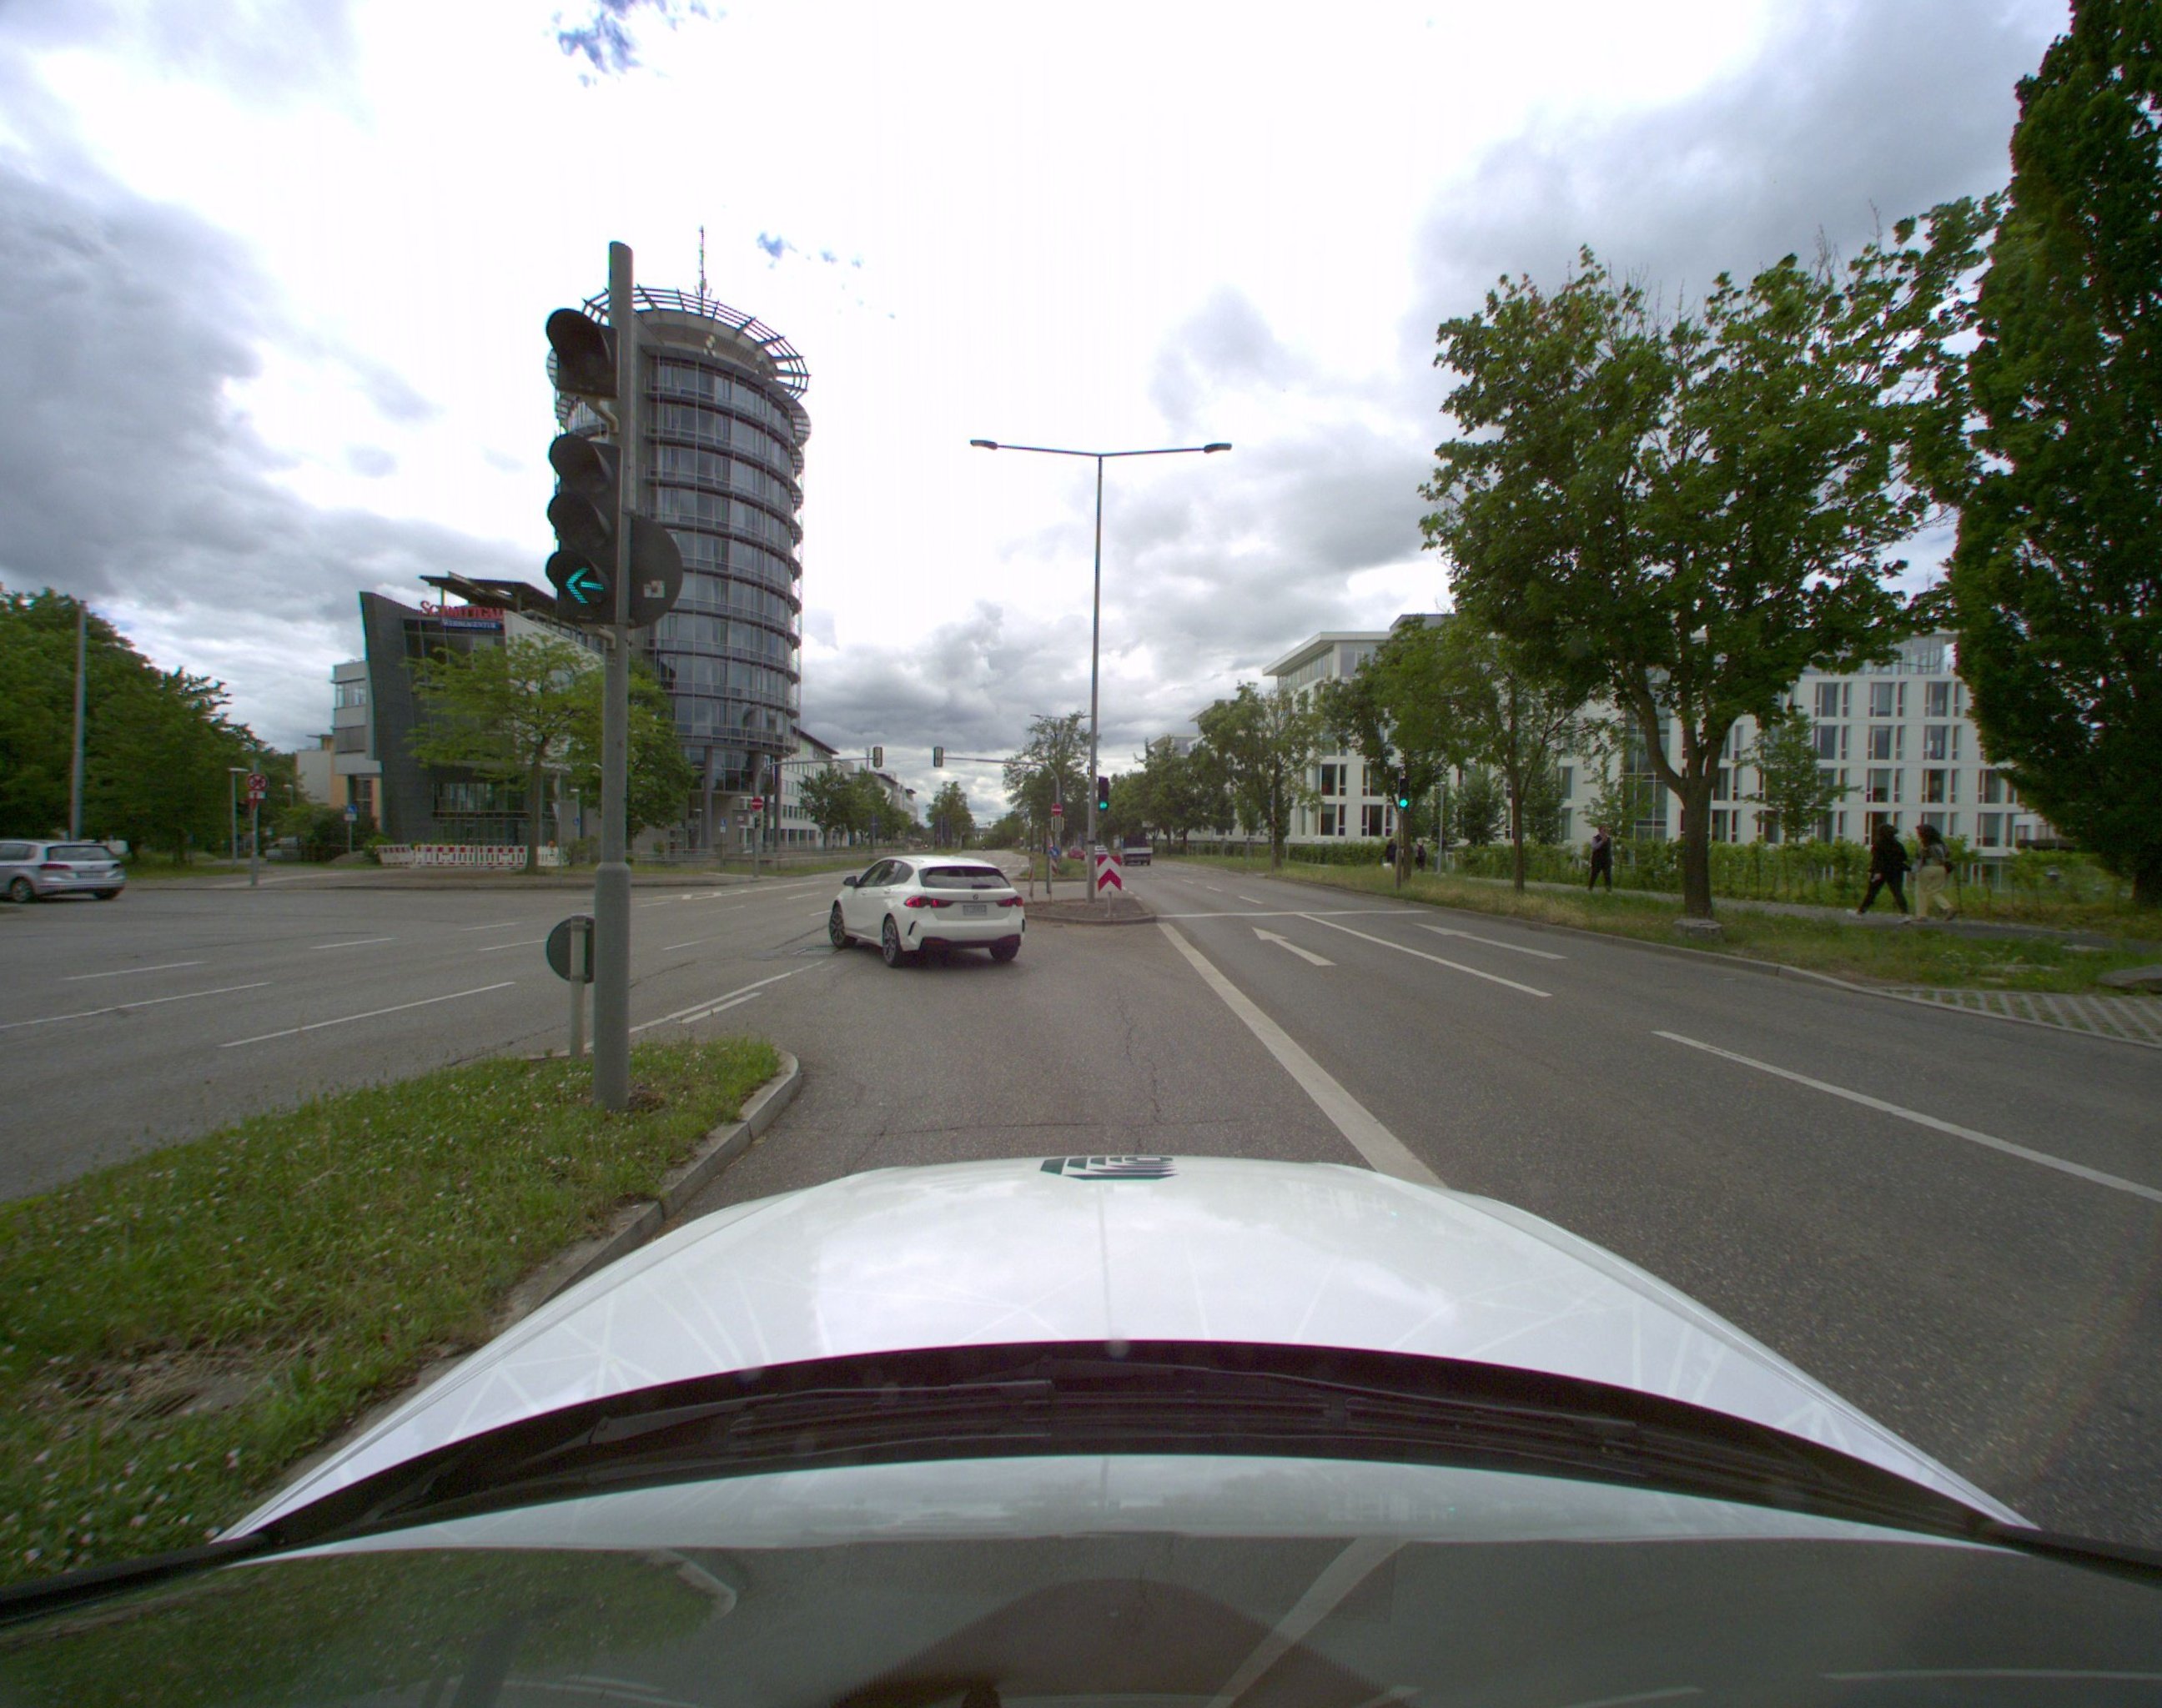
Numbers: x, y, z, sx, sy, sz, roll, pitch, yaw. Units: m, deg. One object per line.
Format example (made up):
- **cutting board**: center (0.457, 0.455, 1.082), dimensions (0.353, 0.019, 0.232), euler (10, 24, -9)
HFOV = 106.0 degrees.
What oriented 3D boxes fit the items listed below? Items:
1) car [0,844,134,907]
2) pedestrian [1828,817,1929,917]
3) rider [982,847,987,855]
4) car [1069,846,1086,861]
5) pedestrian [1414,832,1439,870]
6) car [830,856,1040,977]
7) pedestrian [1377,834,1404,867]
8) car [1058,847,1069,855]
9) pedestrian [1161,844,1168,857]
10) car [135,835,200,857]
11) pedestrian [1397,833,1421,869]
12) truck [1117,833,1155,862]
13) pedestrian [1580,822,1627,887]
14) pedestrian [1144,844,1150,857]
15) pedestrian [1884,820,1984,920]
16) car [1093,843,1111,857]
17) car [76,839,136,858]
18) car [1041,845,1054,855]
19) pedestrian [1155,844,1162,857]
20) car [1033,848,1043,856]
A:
- **car**: center (-27.547, 0.536, 21.234), dimensions (3.971, 1.569, 1.556), euler (0, 0, 2)
- **pedestrian**: center (13.787, 0.211, 14.113), dimensions (0.791, 1.660, 1.062), euler (0, 0, 9)
- **rider**: center (-20.954, -0.715, 176.631), dimensions (0.843, 1.771, 0.808), euler (0, -1, 0)
- **car**: center (-0.405, -0.041, 87.080), dimensions (1.712, 1.558, 3.854), euler (-1, 0, -3)
- **pedestrian**: center (15.448, -0.148, 36.463), dimensions (0.764, 1.685, 0.884), euler (0, -1, 2)
- **car**: center (-2.333, 0.768, 12.098), dimensions (1.834, 1.438, 3.962), euler (0, 0, -30)
- **pedestrian**: center (13.892, -0.144, 36.577), dimensions (0.786, 1.448, 1.112), euler (0, 0, 2)
- **car**: center (-3.449, -0.568, 157.962), dimensions (1.852, 1.596, 4.306), euler (-1, 0, -5)
- **pedestrian**: center (12.522, -0.507, 122.336), dimensions (0.849, 2.013, 0.603), euler (0, 0, -12)
- **car**: center (-36.956, -0.319, 32.970), dimensions (0.766, 0.876, 1.730), euler (0, 0, 40)
- **pedestrian**: center (14.678, -0.146, 36.459), dimensions (0.697, 1.595, 0.884), euler (0, -1, 2)
- **truck**: center (4.360, -0.523, 65.443), dimensions (2.208, 2.203, 5.834), euler (0, 0, -5)
- **pedestrian**: center (12.888, 0.011, 20.104), dimensions (0.738, 1.574, 0.675), euler (0, -1, 2)
- **pedestrian**: center (10.442, -0.493, 128.118), dimensions (0.762, 2.014, 0.751), euler (0, -1, -12)
- **pedestrian**: center (14.630, 0.264, 13.996), dimensions (0.774, 1.660, 0.954), euler (0, 0, 9)
- **car**: center (2.269, -0.446, 89.700), dimensions (1.711, 1.555, 4.086), euler (0, 0, -2)
- **car**: center (-126.774, -0.687, 105.909), dimensions (1.978, 2.339, 4.571), euler (0, 0, 17)
- **car**: center (-5.434, -0.698, 131.024), dimensions (1.852, 1.596, 4.305), euler (-1, 0, -6)
- **pedestrian**: center (12.058, -0.493, 126.677), dimensions (0.762, 2.014, 0.751), euler (0, -1, -12)
- **car**: center (-8.861, -0.446, 166.364), dimensions (1.889, 1.596, 4.305), euler (0, 0, -6)
